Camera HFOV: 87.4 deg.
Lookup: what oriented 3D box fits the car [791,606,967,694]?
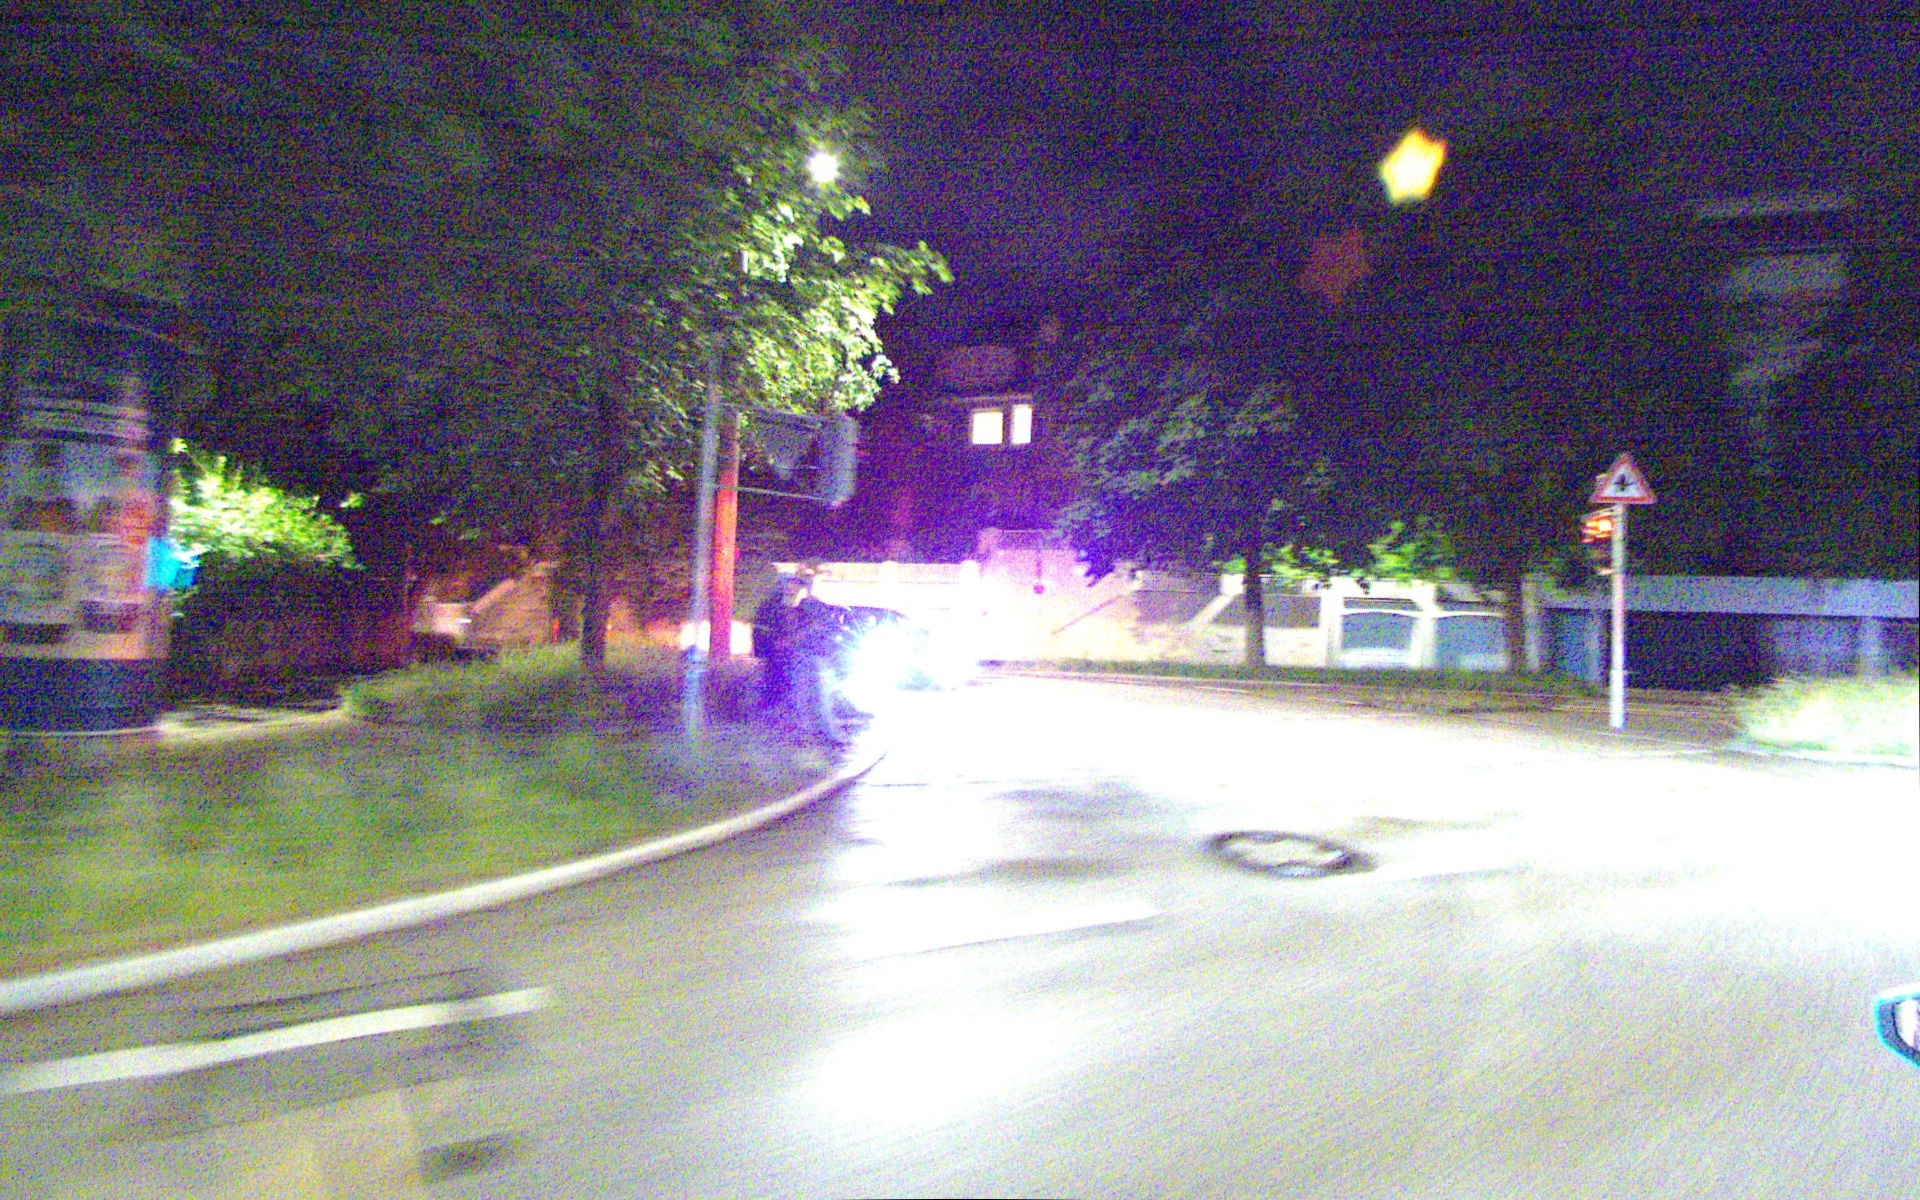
[{"bbox_3d":[-1.705,0.895,19.645,1.712,1.449,4.253,1,0,-31],"label":"car"}]

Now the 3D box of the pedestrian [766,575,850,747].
[{"bbox_3d":[-1.683,0.637,11.037,0.717,1.793,0.961,1,0,-19],"label":"pedestrian"}]

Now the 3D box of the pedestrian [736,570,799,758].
[{"bbox_3d":[-1.925,0.625,10.087,0.513,1.816,0.692,1,0,-5],"label":"pedestrian"}]
